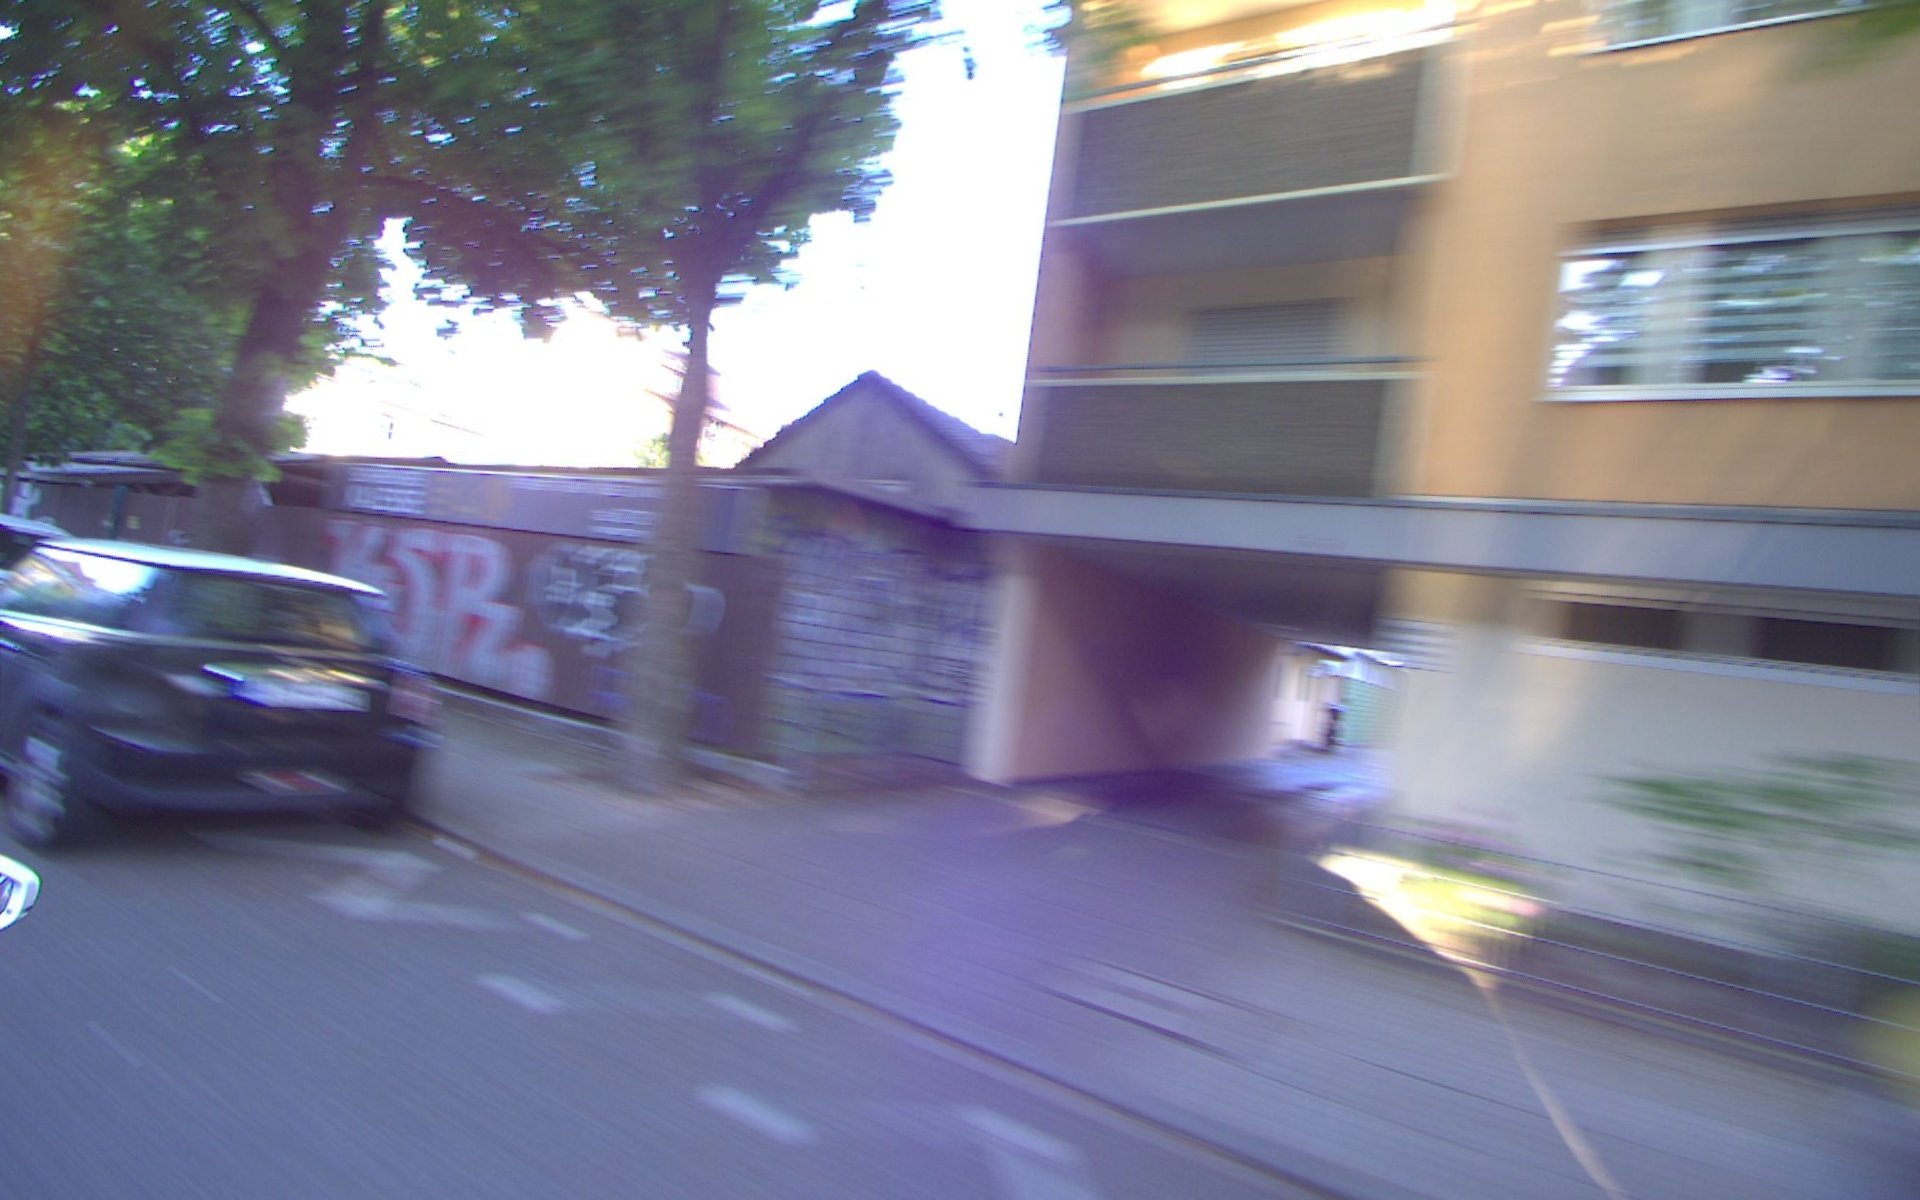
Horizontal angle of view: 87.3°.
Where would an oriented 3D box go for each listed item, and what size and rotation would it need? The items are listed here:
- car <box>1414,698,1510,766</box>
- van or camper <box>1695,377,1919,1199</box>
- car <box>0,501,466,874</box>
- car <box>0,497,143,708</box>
[{"bbox_3d":[14.609,3.818,29.175,1.967,1.536,3.995,8,-2,33],"label":"car"},{"bbox_3d":[3.726,0.939,0.553,5.005,2.120,2.069,8,-2,31],"label":"van or camper"},{"bbox_3d":[-4.662,0.319,5.801,3.396,1.467,1.566,8,-2,32],"label":"car"},{"bbox_3d":[-8.936,-0.196,8.598,3.959,1.537,1.726,8,-2,32],"label":"car"}]
